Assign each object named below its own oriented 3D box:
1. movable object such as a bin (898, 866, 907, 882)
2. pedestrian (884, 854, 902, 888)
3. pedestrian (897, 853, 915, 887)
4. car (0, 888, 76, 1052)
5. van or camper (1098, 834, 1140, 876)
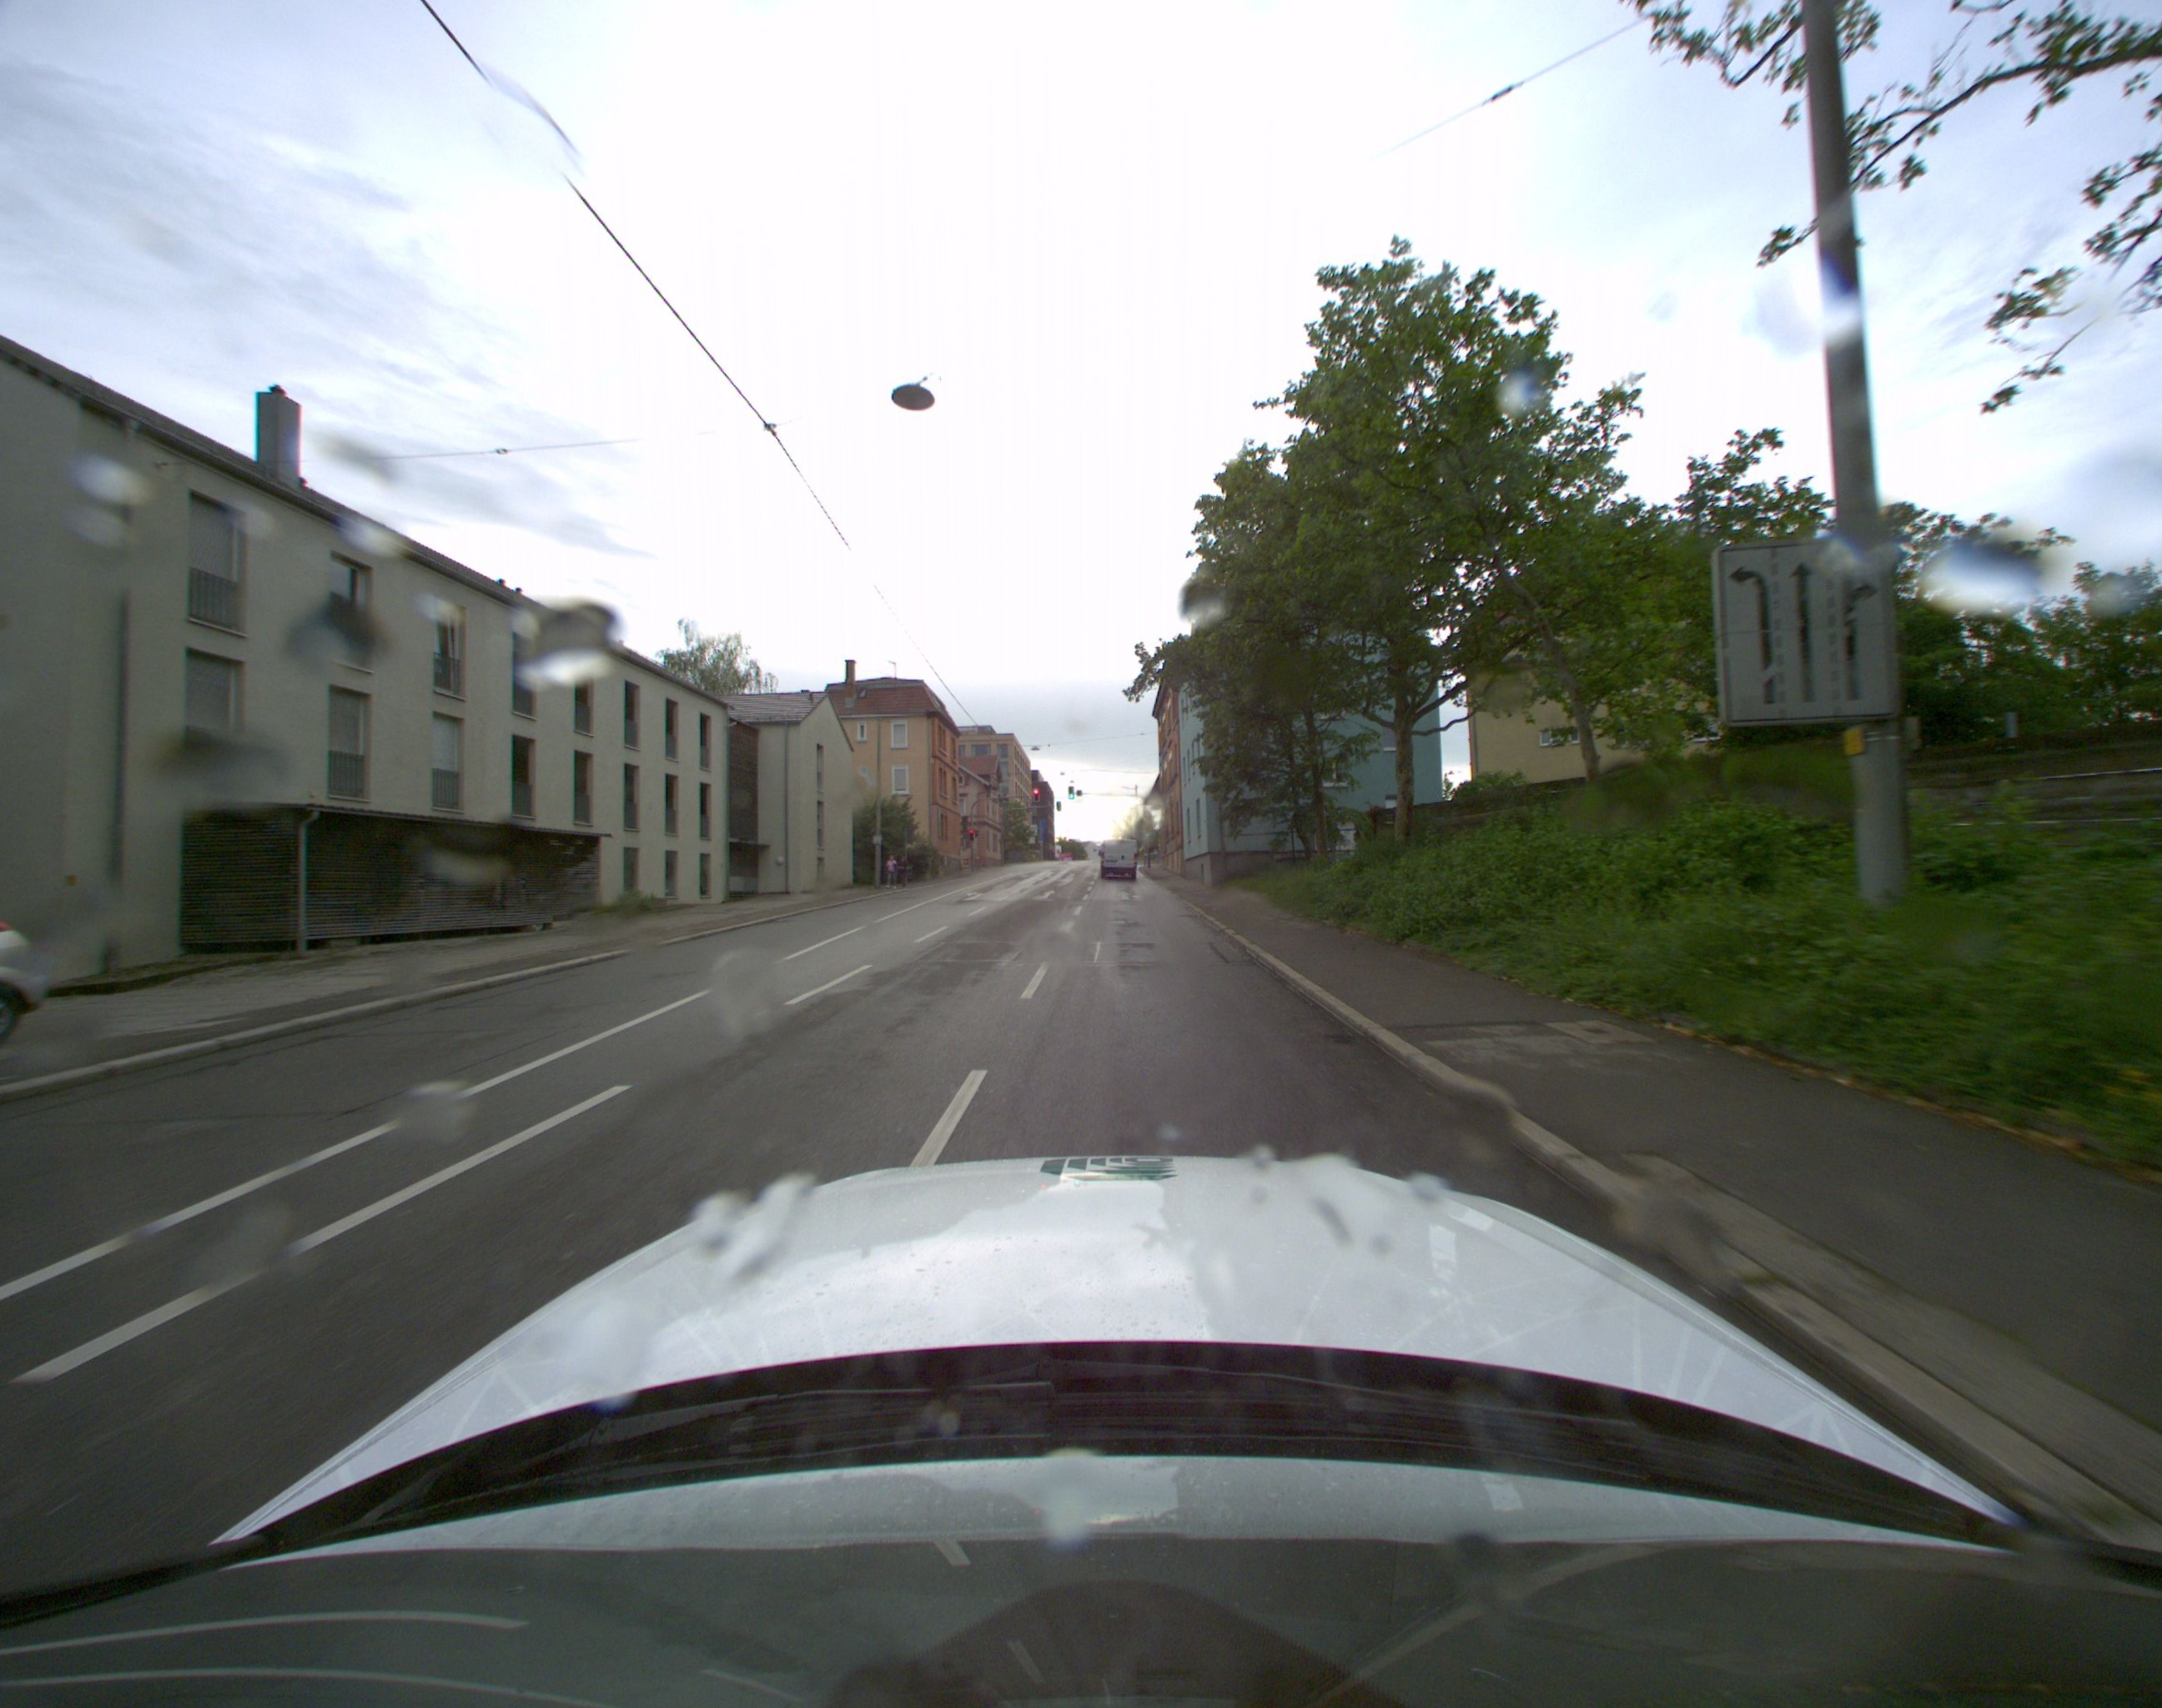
[{"bbox_3d":[-10.492,1.178,47.827,0.408,0.925,0.525,0,-1,-5],"label":"movable object such as a bin"},{"bbox_3d":[-9.559,0.840,41.376,0.637,1.706,0.912,-1,0,2],"label":"pedestrian"},{"bbox_3d":[-8.886,0.795,41.381,0.637,1.706,0.912,-1,0,2],"label":"pedestrian"},{"bbox_3d":[-11.019,1.112,6.087,1.738,1.508,4.179,-1,0,2],"label":"car"},{"bbox_3d":[2.222,0.075,47.605,2.330,2.357,5.202,0,0,2],"label":"van or camper"}]
